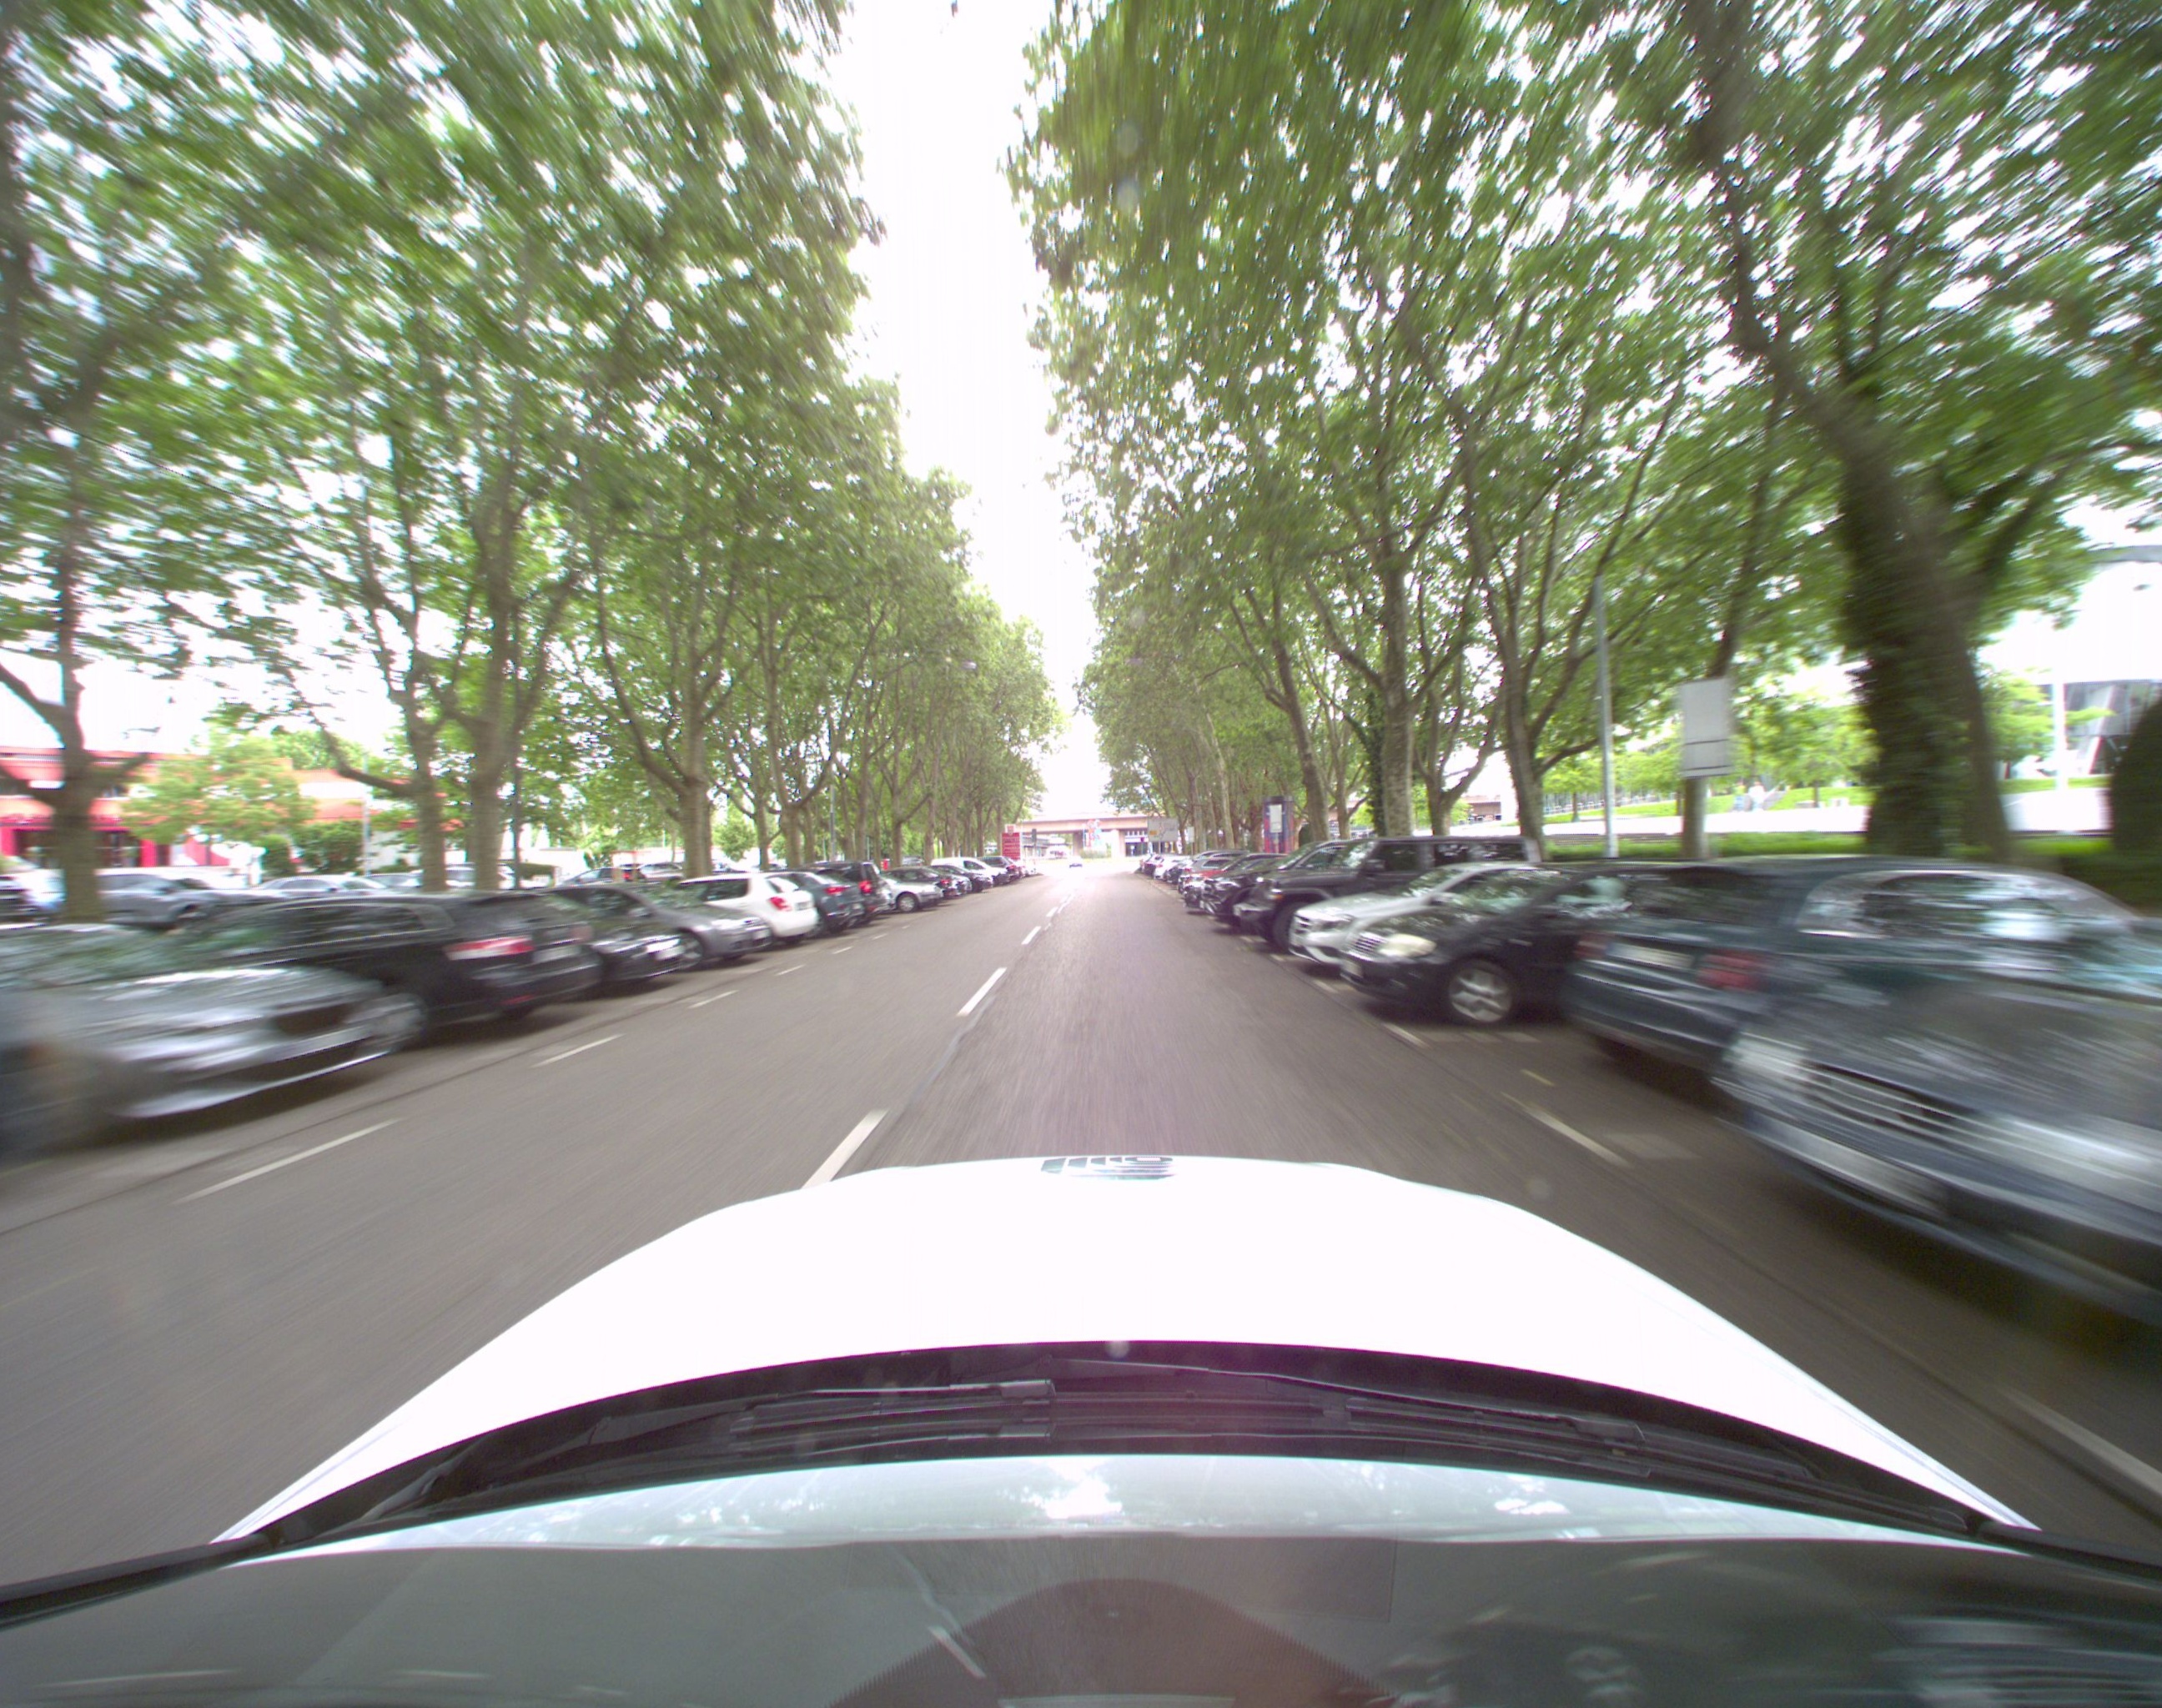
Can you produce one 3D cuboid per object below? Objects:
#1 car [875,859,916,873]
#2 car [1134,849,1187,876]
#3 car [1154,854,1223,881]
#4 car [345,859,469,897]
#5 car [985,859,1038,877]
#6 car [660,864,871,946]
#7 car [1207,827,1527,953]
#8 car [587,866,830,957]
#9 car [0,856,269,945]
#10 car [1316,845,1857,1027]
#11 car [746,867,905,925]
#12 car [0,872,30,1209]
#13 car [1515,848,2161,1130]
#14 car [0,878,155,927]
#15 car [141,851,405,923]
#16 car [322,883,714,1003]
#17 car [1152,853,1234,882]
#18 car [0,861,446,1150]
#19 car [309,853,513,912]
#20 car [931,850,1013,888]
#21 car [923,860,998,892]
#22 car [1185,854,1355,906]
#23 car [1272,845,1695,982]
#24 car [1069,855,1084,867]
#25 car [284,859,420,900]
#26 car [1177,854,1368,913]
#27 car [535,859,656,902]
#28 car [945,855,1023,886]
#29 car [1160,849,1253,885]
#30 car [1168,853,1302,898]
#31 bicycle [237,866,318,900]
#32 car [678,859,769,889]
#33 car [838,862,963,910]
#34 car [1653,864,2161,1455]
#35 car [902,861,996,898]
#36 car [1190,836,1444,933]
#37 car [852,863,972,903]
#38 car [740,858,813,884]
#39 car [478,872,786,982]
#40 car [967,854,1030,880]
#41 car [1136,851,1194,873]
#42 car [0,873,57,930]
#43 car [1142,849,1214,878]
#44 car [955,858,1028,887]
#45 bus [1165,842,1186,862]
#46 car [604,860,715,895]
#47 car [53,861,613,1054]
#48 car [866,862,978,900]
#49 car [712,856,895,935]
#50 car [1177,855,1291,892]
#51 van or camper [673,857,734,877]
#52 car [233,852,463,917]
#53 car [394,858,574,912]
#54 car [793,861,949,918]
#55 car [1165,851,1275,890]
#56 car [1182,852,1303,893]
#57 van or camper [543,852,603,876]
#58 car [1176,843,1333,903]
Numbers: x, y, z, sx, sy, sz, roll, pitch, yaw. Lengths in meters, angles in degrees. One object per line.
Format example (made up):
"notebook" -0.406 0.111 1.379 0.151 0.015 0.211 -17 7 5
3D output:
"car" -20.688 1.372 90.905 3.972 1.523 2.002 -1 -1 1
"car" 6.076 0.648 62.860 3.972 2.013 2.001 0 0 2
"car" 6.000 0.751 45.591 3.629 1.427 1.664 0 0 -2
"car" -34.054 1.200 41.240 4.555 1.855 2.300 -1 -1 6
"car" -5.626 1.125 66.126 3.975 1.385 1.914 -1 -1 5
"car" -6.900 1.088 18.086 3.918 1.516 1.728 -3 0 0
"car" 4.455 0.525 13.197 4.484 1.866 2.046 0 0 -2
"car" -7.281 1.109 16.149 3.973 1.485 1.706 -3 0 6
"car" -22.037 1.008 18.469 4.927 1.797 2.182 -1 0 -1
"car" 4.618 0.711 7.924 4.181 1.518 1.785 1 -1 1
"car" -7.296 1.195 23.558 3.918 1.364 1.827 -3 0 0
"car" -7.448 0.956 3.333 3.971 1.682 1.857 -1 -1 2
"car" 5.416 0.726 5.393 4.185 1.518 1.784 0 0 -2
"car" -32.932 1.545 26.188 3.975 1.427 1.999 -1 -1 -1
"car" -21.888 0.869 22.247 4.927 1.797 2.182 -1 -1 -1
"car" -7.388 1.132 11.011 3.974 1.369 1.843 -1 -1 0
"car" 5.873 0.699 43.035 4.133 1.458 1.728 0 0 2
"car" -7.188 0.918 5.754 3.971 1.682 1.857 -1 -1 2
"car" -22.246 0.921 27.224 4.927 1.797 2.182 -1 -1 -1
"car" -6.094 0.832 45.972 4.307 1.810 1.866 -3 0 -3
"car" -6.396 1.149 43.275 3.782 1.472 1.759 -3 0 -10
"car" 5.283 0.718 23.173 4.476 1.420 1.830 0 0 3
"car" 4.884 0.673 10.505 4.474 1.572 2.050 0 0 4
"car" -0.562 0.956 106.619 1.836 1.510 4.014 -1 -1 0
"car" -34.445 1.180 38.542 4.555 1.855 2.300 -1 -1 6
"car" 4.783 0.717 20.816 4.478 1.428 1.933 0 0 2
"car" -22.186 1.186 37.349 4.306 1.861 2.028 -1 -1 0
"car" -5.739 0.967 48.482 4.301 1.795 2.037 -1 -1 1
"car" 6.194 0.607 40.520 4.332 1.745 1.836 0 0 -1
"car" 5.393 0.727 28.874 4.338 1.502 1.923 0 0 -5
"bicycle" -38.705 1.387 39.290 1.045 1.540 2.803 -1 -1 2
"car" -21.693 1.202 49.563 4.503 1.762 2.296 -1 -1 0
"car" -6.240 1.080 28.438 3.918 1.398 1.703 -3 0 0
"car" 4.811 0.784 3.037 4.185 1.456 1.784 0 0 -2
"car" -6.142 1.171 38.210 3.960 1.421 1.758 -4 0 4
"car" 4.519 0.554 16.139 4.479 1.796 2.048 0 0 1
"car" -6.913 1.197 33.689 4.445 1.347 1.903 -3 0 3
"car" -21.284 1.183 57.068 4.306 1.709 2.132 -1 -1 0
"car" -7.168 1.139 13.287 3.980 1.420 1.703 -3 0 0
"car" -5.871 0.914 58.457 4.251 1.548 1.908 -4 -1 -1
"car" 6.490 0.596 63.081 4.330 1.633 1.926 0 0 2
"car" -33.213 1.401 23.752 3.977 1.625 1.998 -1 -1 -3
"car" 6.001 0.578 50.732 4.332 1.761 1.925 0 0 0
"car" -5.567 1.155 50.920 4.111 1.452 2.015 -4 0 3
"bus" 17.295 -0.422 148.785 2.315 3.398 10.059 -1 0 15
"car" -21.978 1.189 42.611 4.536 1.725 2.296 -1 -1 0
"car" -7.250 0.942 8.220 3.971 1.682 1.857 -1 -1 2
"car" -6.951 1.172 35.885 4.447 1.369 1.880 -3 0 1
"car" -6.902 1.004 20.554 3.918 1.708 1.752 -3 0 0
"car" 6.146 0.767 33.071 4.330 1.413 1.926 0 0 2
"van or camper" -32.899 1.138 71.008 4.306 1.709 2.132 -1 -1 0
"car" -22.054 0.895 24.685 4.927 1.797 2.182 -1 -1 -1
"car" -21.867 1.098 30.007 4.927 1.797 2.182 -1 0 -1
"car" -6.621 1.099 26.018 4.449 1.482 1.703 -3 0 0
"car" 5.958 0.685 35.301 4.572 1.639 1.874 0 0 3
"car" 6.138 0.687 31.327 4.331 1.502 1.926 0 0 1
"van or camper" -45.052 0.896 72.378 1.987 2.014 5.303 -1 -1 1
"car" 5.396 0.564 25.758 4.488 1.796 2.044 0 0 -5
